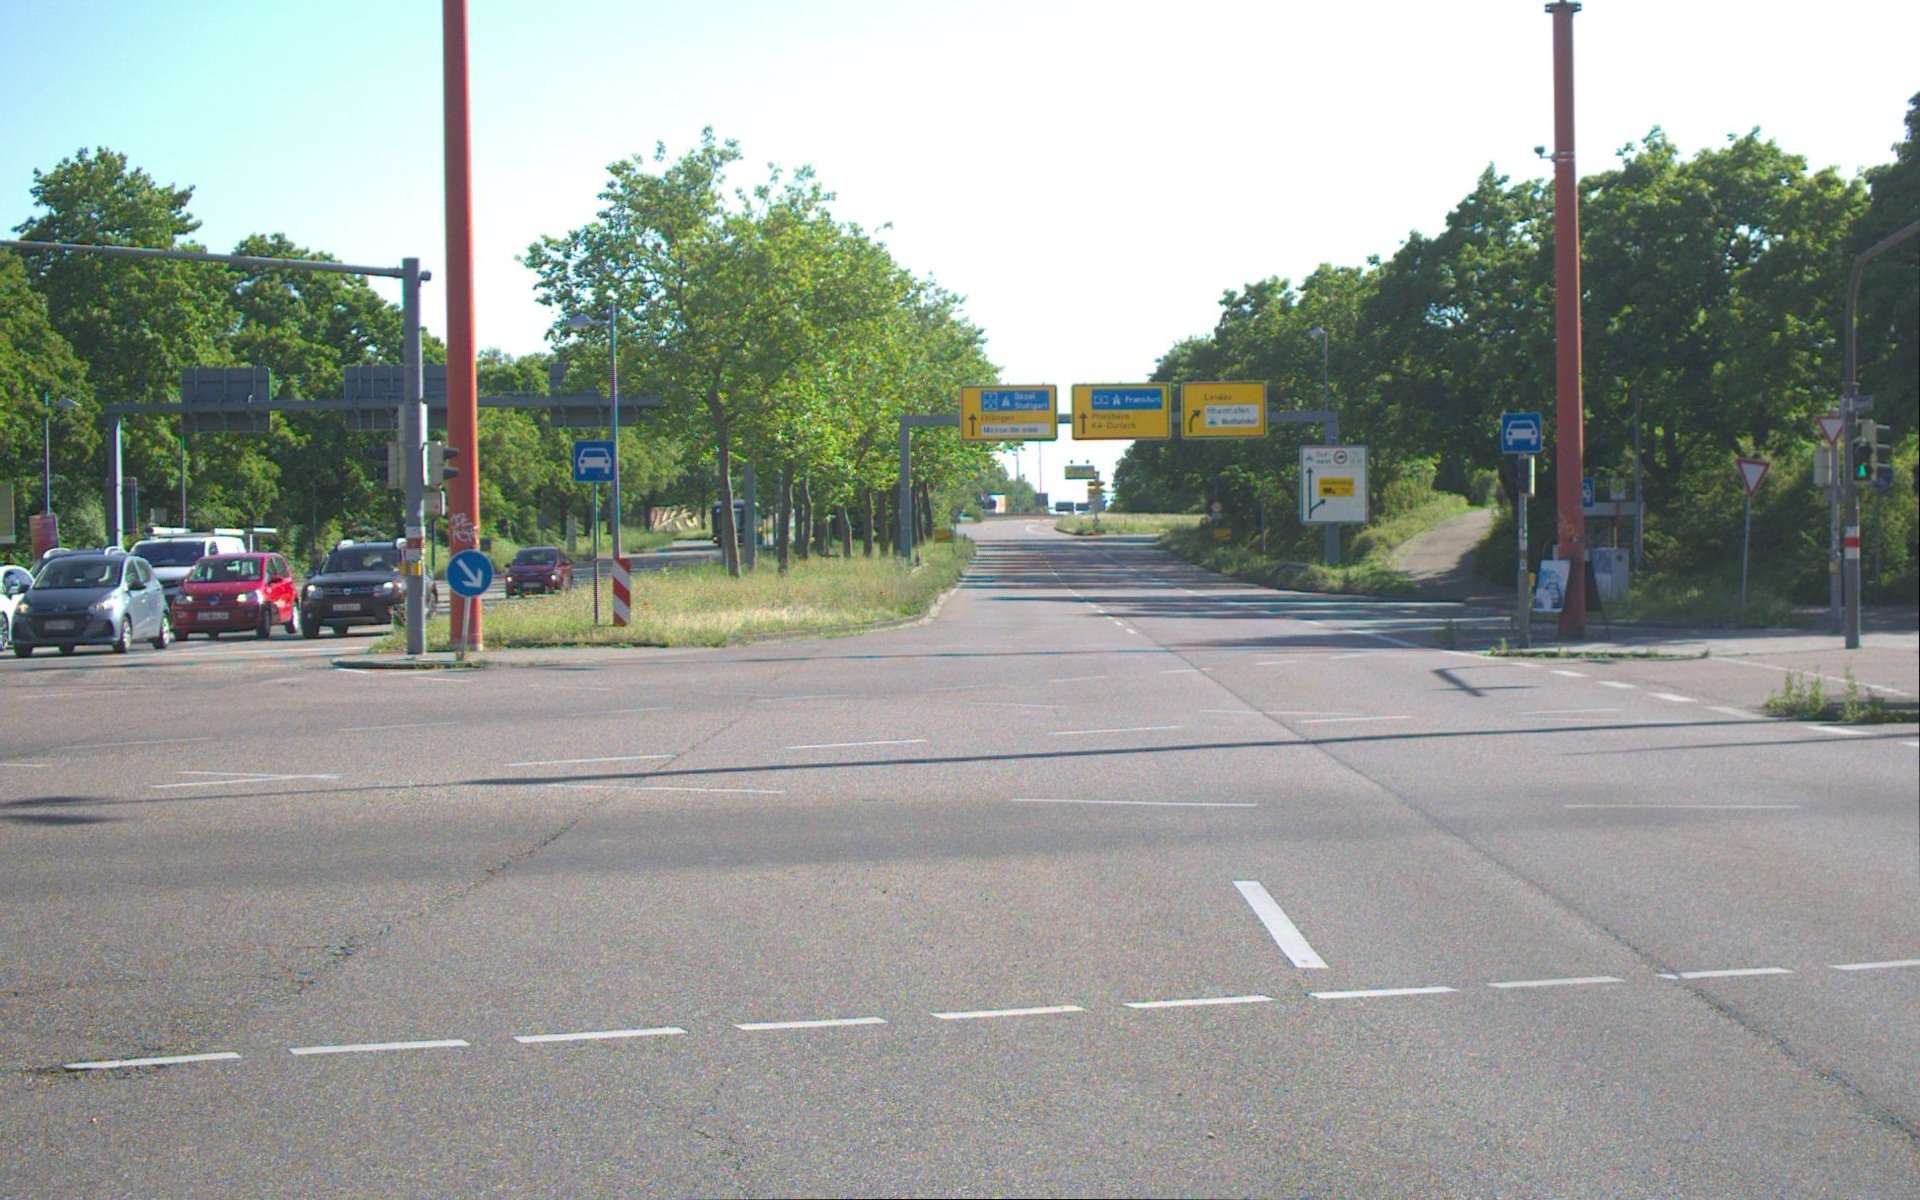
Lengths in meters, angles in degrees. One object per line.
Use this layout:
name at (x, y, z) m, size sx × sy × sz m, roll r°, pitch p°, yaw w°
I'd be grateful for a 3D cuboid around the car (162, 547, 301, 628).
car at (-12.753, -0.234, 60.319) m, size 1.739 × 1.357 × 3.613 m, roll -1°, pitch 1°, yaw -1°

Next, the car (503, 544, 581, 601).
car at (-12.181, -0.818, 100.454) m, size 1.819 × 1.623 × 4.000 m, roll -1°, pitch 1°, yaw -1°

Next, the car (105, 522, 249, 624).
car at (-16.028, -0.578, 70.597) m, size 1.893 × 2.019 × 5.224 m, roll 0°, pitch 1°, yaw -1°

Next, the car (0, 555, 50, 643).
car at (-16.424, -0.026, 57.054) m, size 1.739 × 1.406 × 3.613 m, roll -1°, pitch 1°, yaw -1°

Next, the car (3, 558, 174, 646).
car at (-13.116, 0.007, 51.908) m, size 1.739 × 1.239 × 3.613 m, roll -1°, pitch 1°, yaw -1°

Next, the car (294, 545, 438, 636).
car at (-10.171, -0.189, 59.104) m, size 1.819 × 1.503 × 4.000 m, roll -1°, pitch 1°, yaw -1°
